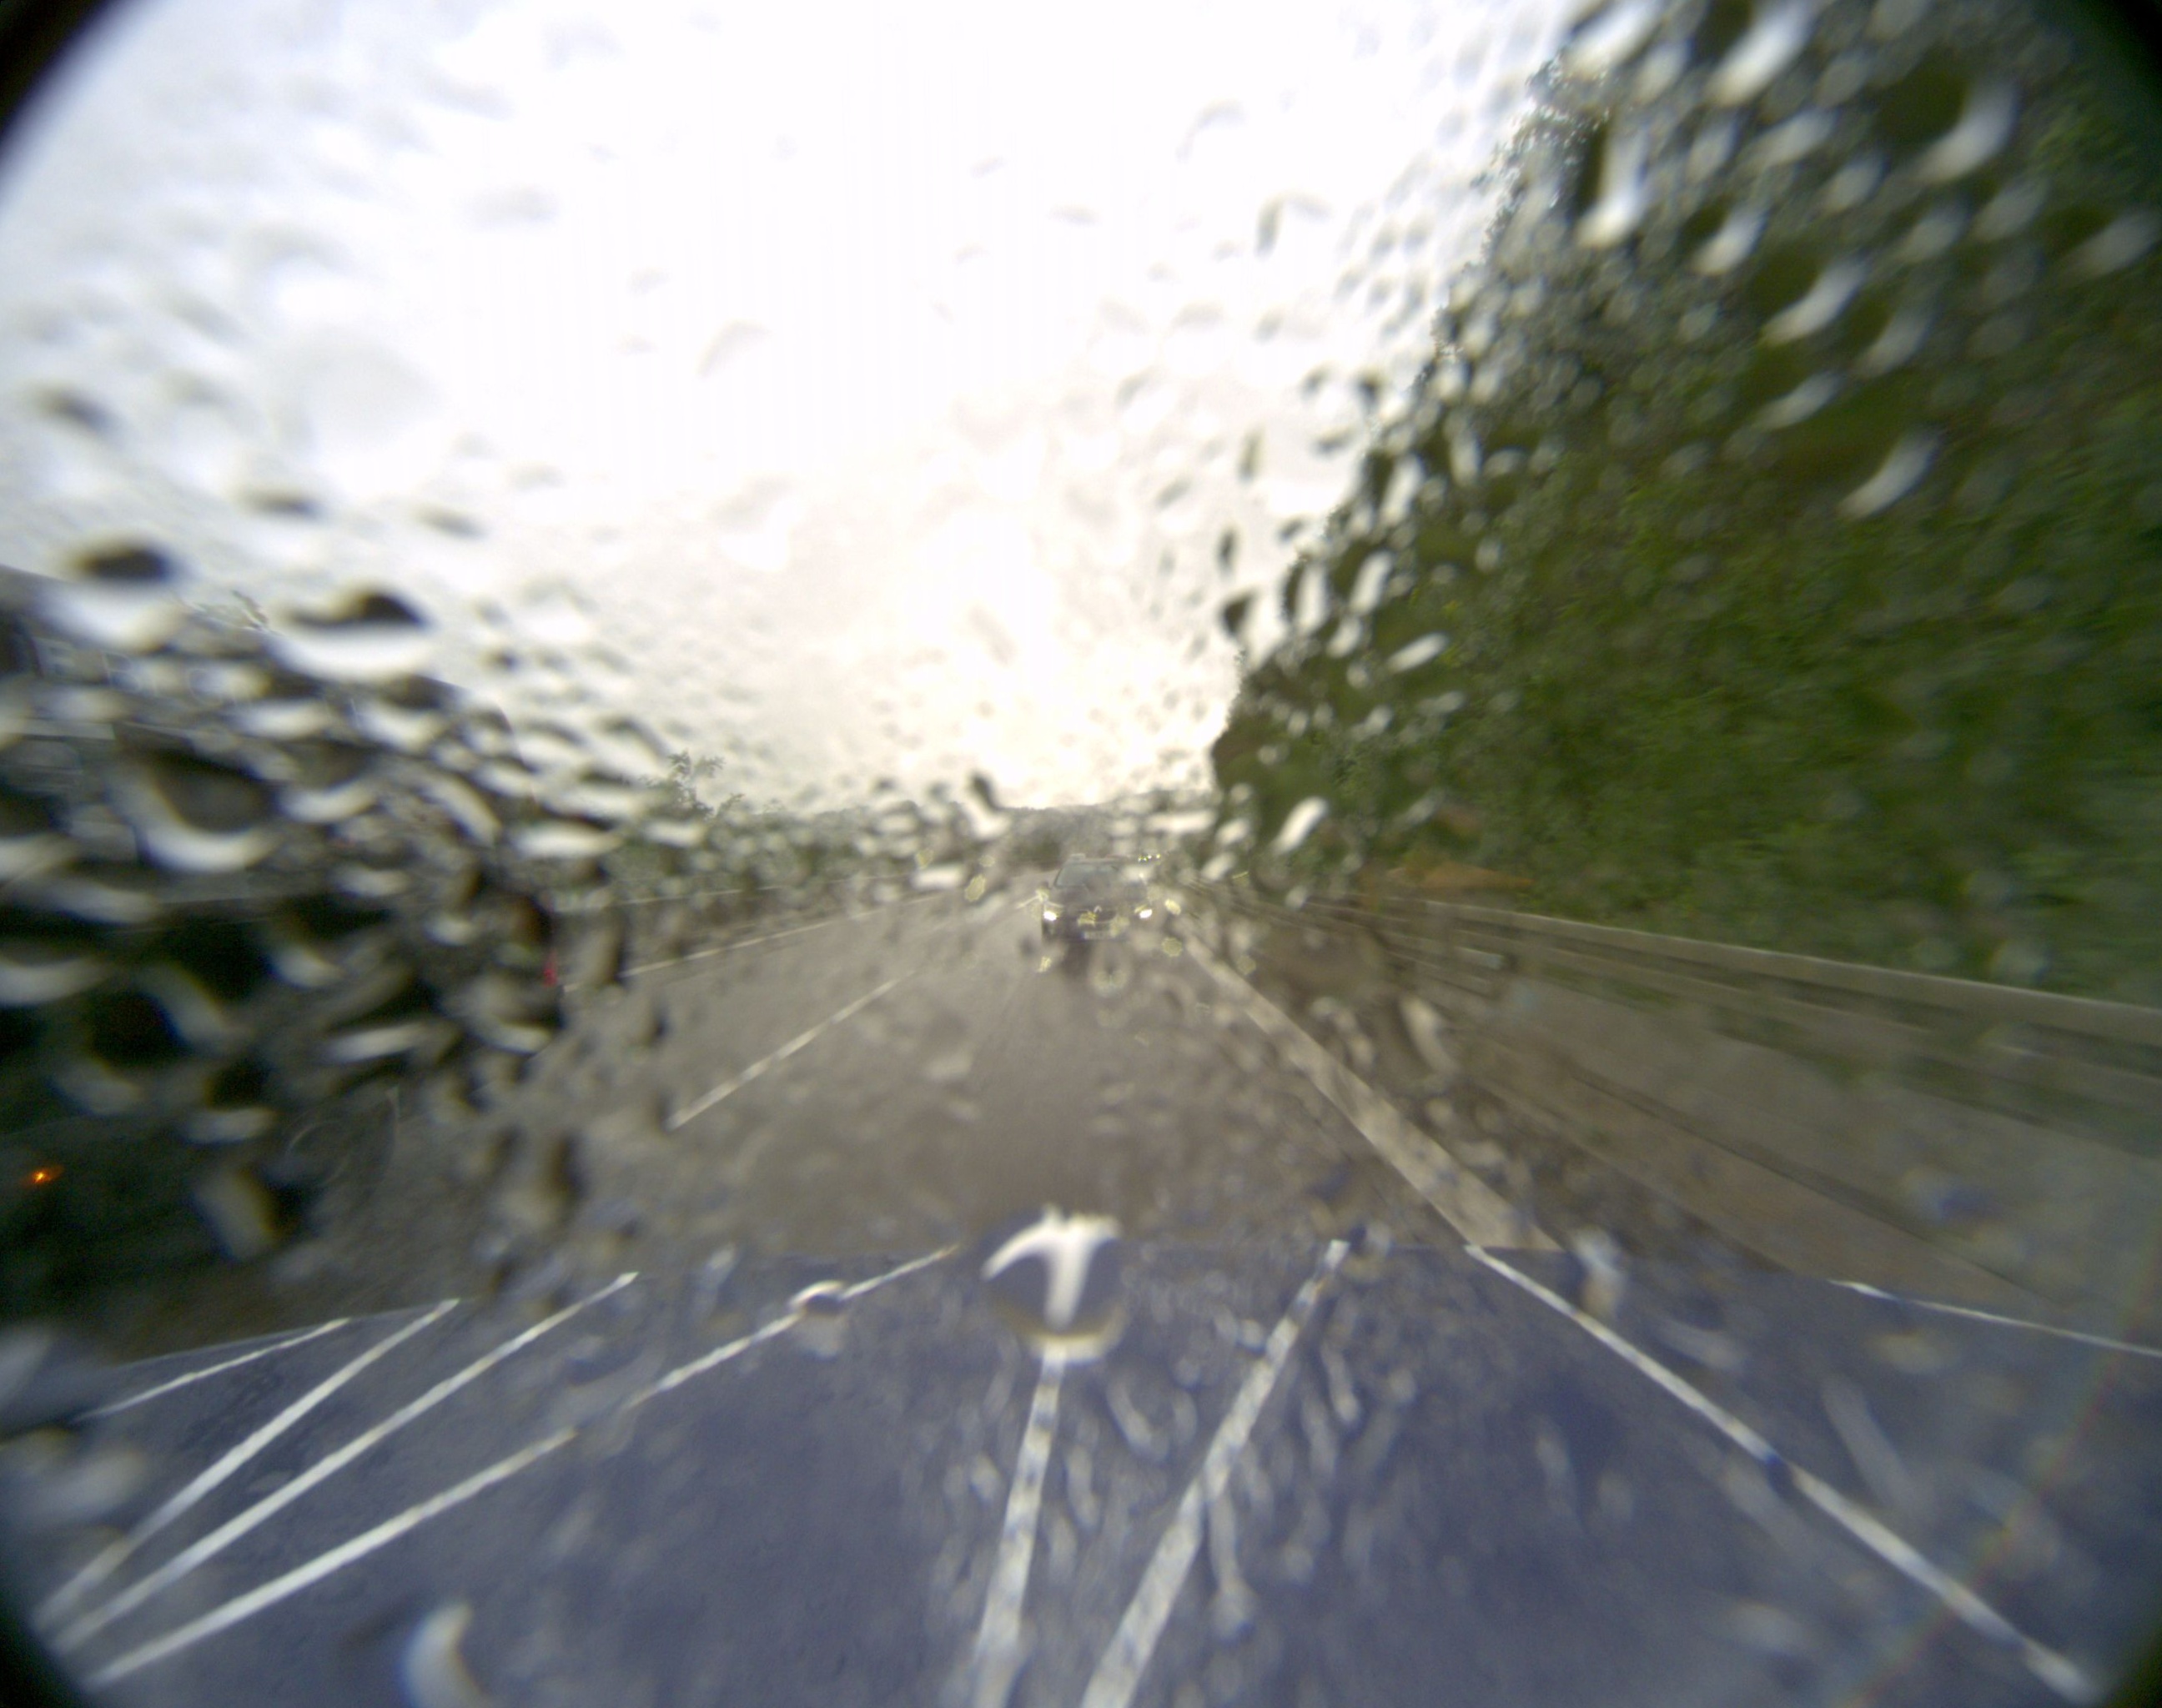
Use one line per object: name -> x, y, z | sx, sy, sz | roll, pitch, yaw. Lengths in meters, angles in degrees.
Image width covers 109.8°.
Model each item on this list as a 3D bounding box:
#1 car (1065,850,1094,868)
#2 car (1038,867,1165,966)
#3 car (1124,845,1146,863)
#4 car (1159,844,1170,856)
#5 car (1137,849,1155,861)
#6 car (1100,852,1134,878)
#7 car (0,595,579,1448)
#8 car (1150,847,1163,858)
car -> -0.076, 0.410, 67.152 | 1.989, 1.407, 4.566 | -2, 0, 6
car -> 0.383, 0.949, 13.226 | 1.839, 1.316, 4.135 | -1, 1, 2
car -> 5.150, -0.016, 71.779 | 1.905, 1.545, 4.566 | -2, 0, 6
car -> 13.875, -0.682, 126.047 | 1.591, 1.895, 3.754 | -2, 1, 4
car -> 7.726, 0.059, 90.908 | 1.990, 1.316, 4.144 | -2, 0, 4
car -> 2.092, 0.585, 43.180 | 1.712, 1.316, 3.946 | -2, 0, 5
car -> -4.170, 0.508, 1.290 | 1.998, 2.480, 6.705 | -1, 0, 1
car -> 11.055, -0.296, 110.909 | 1.657, 1.535, 3.665 | -2, 1, 7
